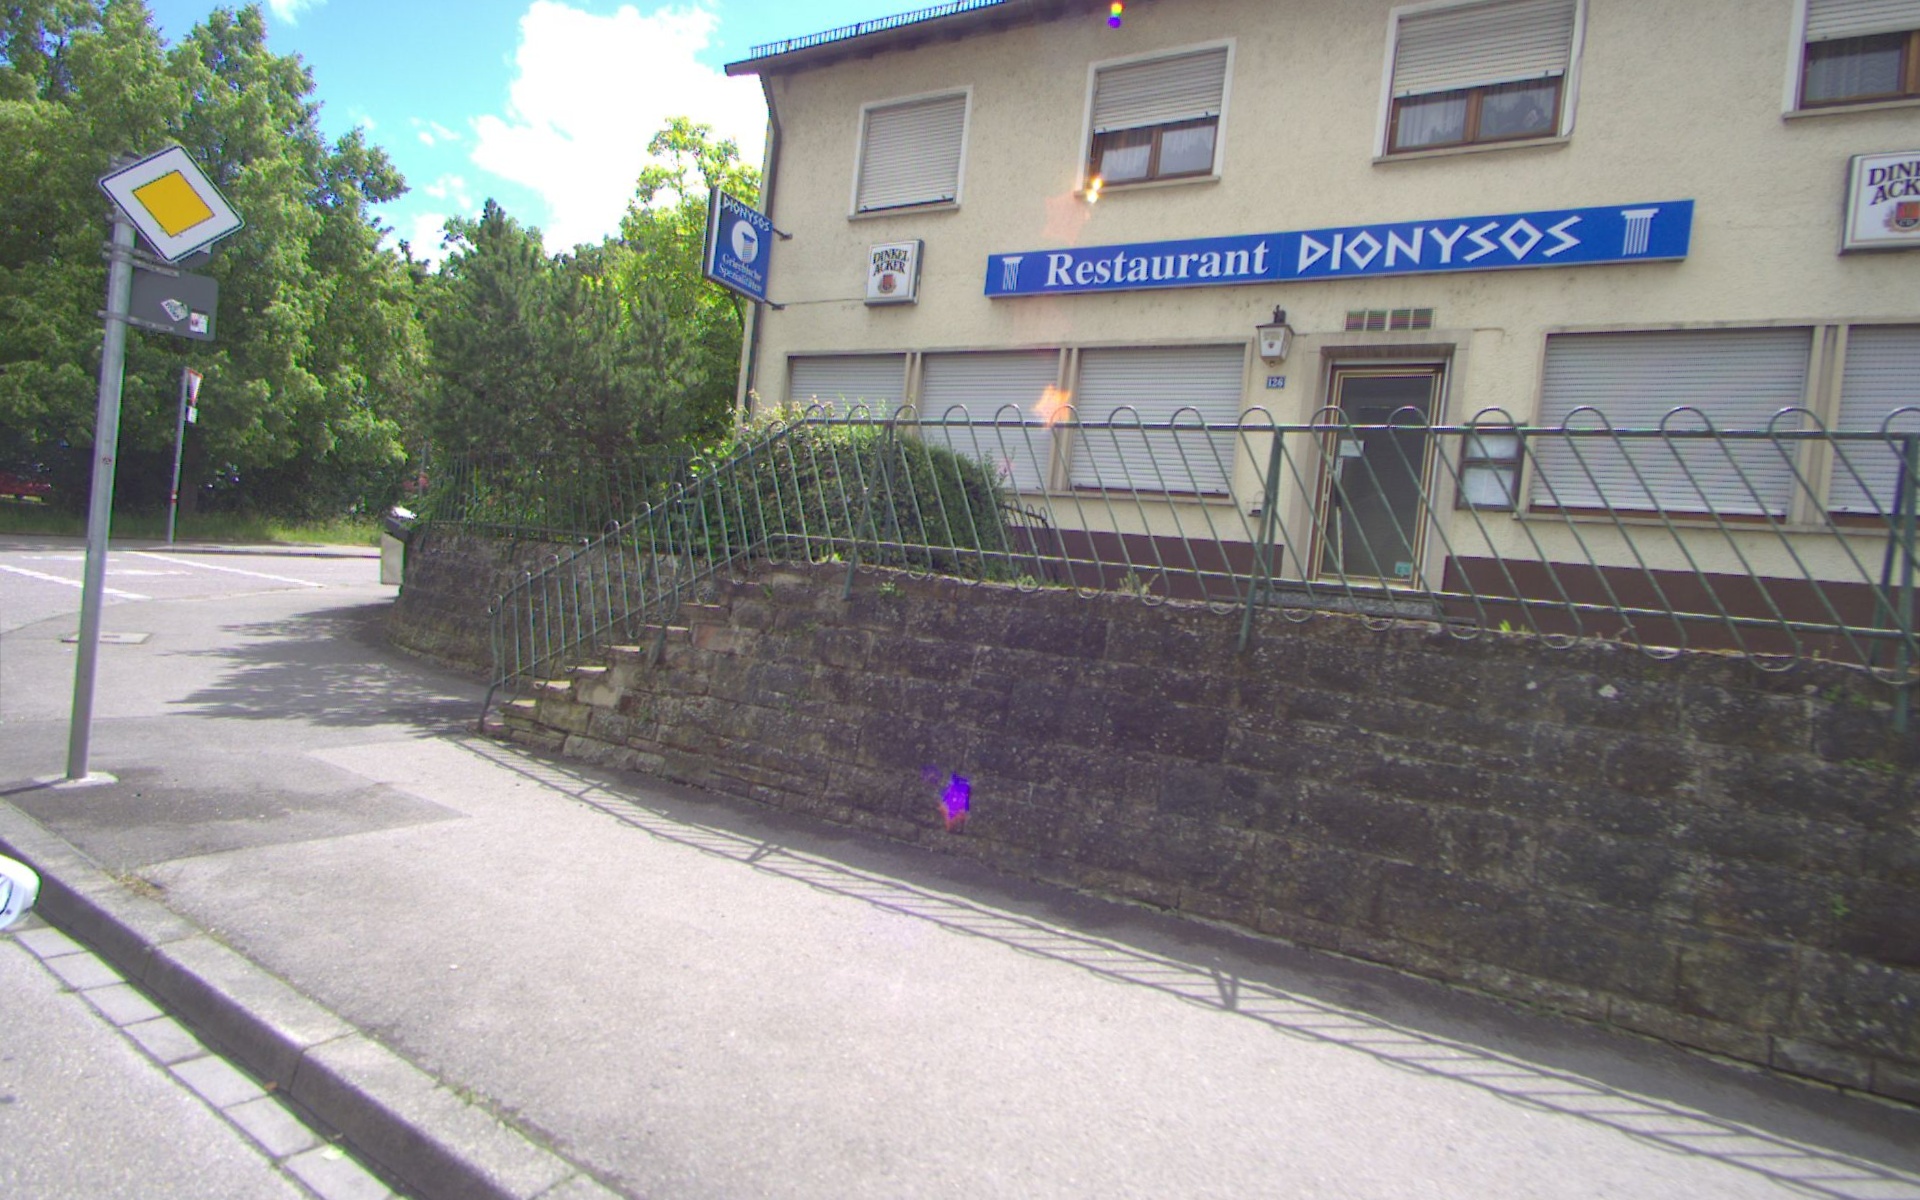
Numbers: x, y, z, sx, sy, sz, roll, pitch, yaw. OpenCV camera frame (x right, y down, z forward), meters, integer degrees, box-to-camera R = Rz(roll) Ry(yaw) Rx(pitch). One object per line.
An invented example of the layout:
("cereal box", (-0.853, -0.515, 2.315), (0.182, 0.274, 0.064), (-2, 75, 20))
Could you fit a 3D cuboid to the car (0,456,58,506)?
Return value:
("car", (-33.876, -4.299, 35.789), (3.602, 1.521, 1.661), (7, 2, 31))
